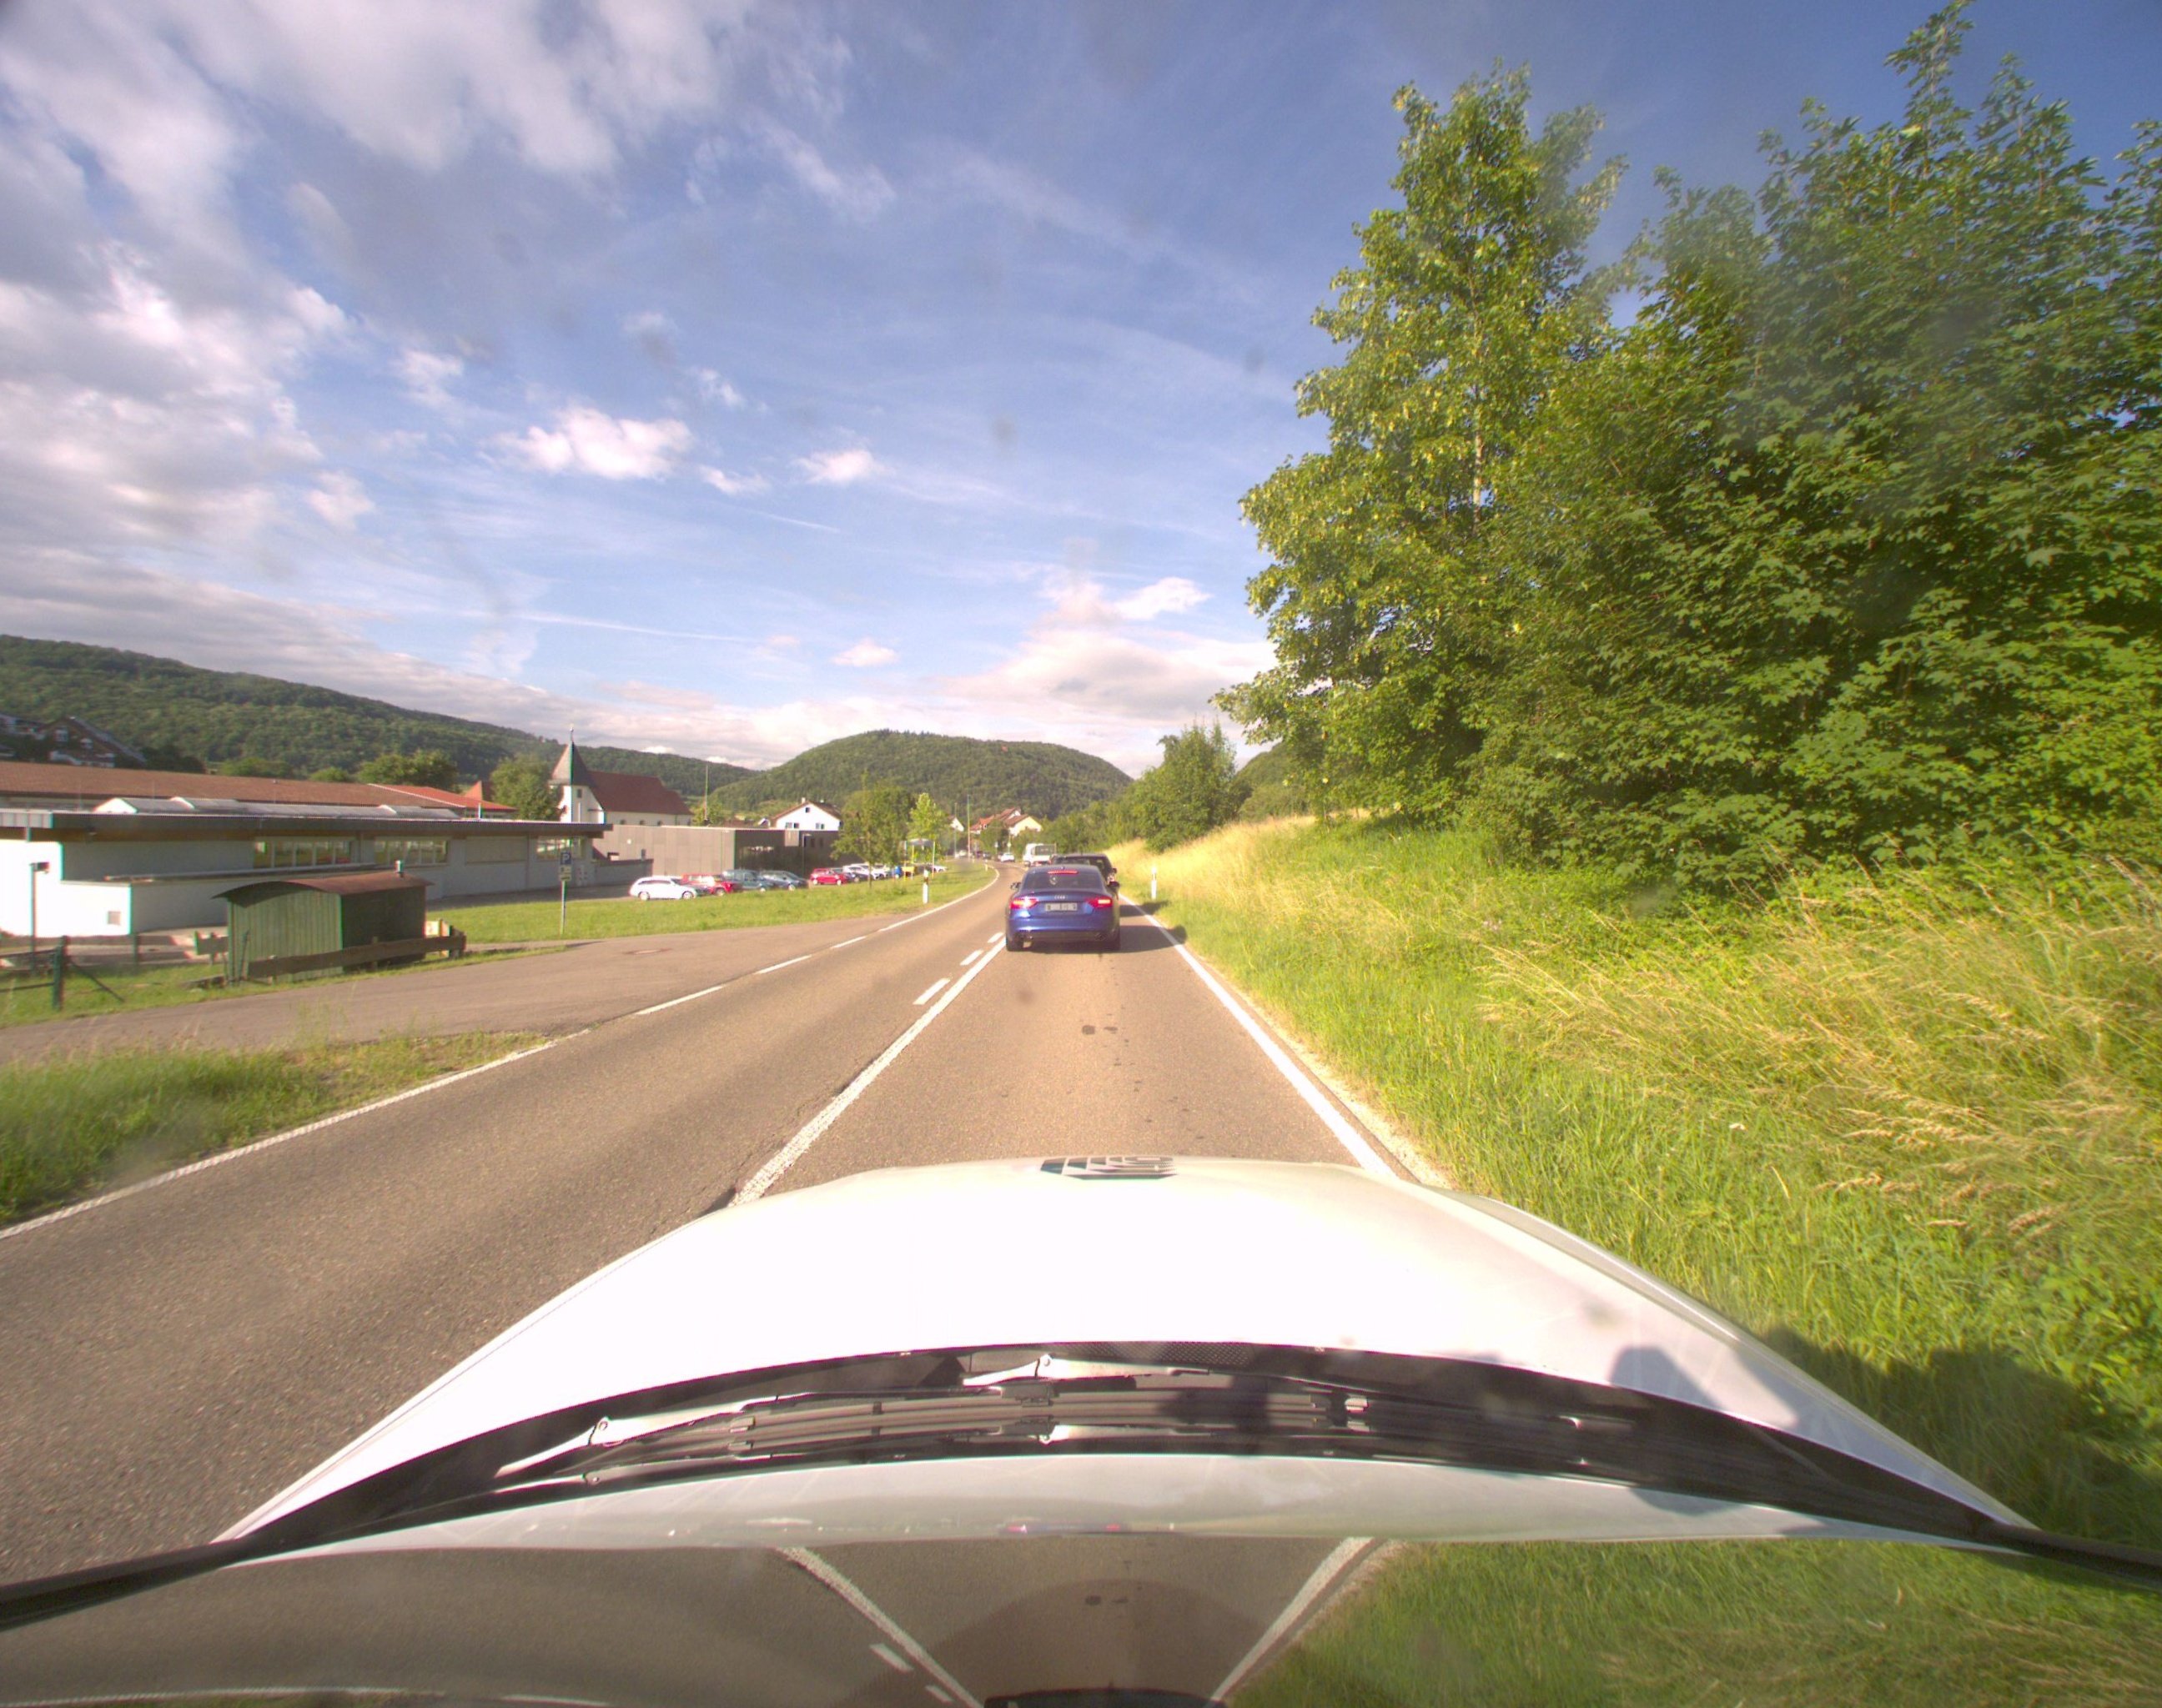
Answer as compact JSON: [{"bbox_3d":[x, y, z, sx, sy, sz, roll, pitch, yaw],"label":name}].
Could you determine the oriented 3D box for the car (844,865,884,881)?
[{"bbox_3d":[-22.266,1.952,83.605,3.647,1.494,1.599,-1,-2,6],"label":"car"}]

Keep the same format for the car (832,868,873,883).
[{"bbox_3d":[-22.540,2.145,80.374,3.606,1.405,1.599,-1,-3,6],"label":"car"}]

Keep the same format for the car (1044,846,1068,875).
[{"bbox_3d":[-1.844,0.470,59.497,1.564,2.013,3.995,-2,0,-3],"label":"car"}]

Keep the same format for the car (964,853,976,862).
[{"bbox_3d":[-23.389,0.742,171.817,1.682,1.924,3.975,-2,0,-19],"label":"car"}]

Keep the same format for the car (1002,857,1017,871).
[{"bbox_3d":[-10.789,1.483,122.608,1.660,1.924,3.984,-2,0,-11],"label":"car"}]

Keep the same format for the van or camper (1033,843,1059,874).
[{"bbox_3d":[-3.039,0.391,70.022,2.048,2.505,5.802,-2,0,-4],"label":"van or camper"}]

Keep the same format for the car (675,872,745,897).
[{"bbox_3d":[-24.977,2.057,54.941,3.901,1.579,1.758,-1,0,5],"label":"car"}]

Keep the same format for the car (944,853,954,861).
[{"bbox_3d":[-31.931,0.671,196.850,1.682,1.924,3.975,-2,0,-19],"label":"car"}]

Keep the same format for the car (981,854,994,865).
[{"bbox_3d":[-17.485,1.080,152.177,1.663,1.924,3.978,-2,0,-16],"label":"car"}]

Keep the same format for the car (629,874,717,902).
[{"bbox_3d":[-26.074,2.162,52.080,4.618,1.589,2.003,-1,0,5],"label":"car"}]

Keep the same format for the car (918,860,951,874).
[{"bbox_3d":[-19.794,1.742,109.975,4.015,1.660,1.658,-2,0,6],"label":"car"}]

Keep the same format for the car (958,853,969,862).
[{"bbox_3d":[-26.007,0.752,180.828,1.682,1.924,3.975,-2,0,-19],"label":"car"}]

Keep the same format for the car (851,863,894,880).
[{"bbox_3d":[-22.233,1.879,86.781,4.056,1.673,1.599,-1,1,6],"label":"car"}]

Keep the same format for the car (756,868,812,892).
[{"bbox_3d":[-23.761,2.068,65.206,3.800,1.722,1.734,-1,0,5],"label":"car"}]

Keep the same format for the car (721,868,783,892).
[{"bbox_3d":[-24.453,1.930,60.570,3.845,1.722,1.757,0,0,3],"label":"car"}]

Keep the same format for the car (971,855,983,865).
[{"bbox_3d":[-20.778,1.150,162.655,1.681,1.924,3.976,-2,0,-18],"label":"car"}]

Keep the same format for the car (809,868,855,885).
[{"bbox_3d":[-22.993,2.104,75.331,3.606,1.444,1.651,-2,0,6],"label":"car"}]

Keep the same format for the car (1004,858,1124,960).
[{"bbox_3d":[-0.220,0.826,13.856,1.736,1.450,3.517,-2,0,1],"label":"car"}]

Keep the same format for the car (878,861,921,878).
[{"bbox_3d":[-21.255,1.765,95.412,4.530,1.815,1.844,-2,0,6],"label":"car"}]

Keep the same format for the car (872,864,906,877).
[{"bbox_3d":[-21.878,1.880,92.889,3.360,1.373,1.659,-2,0,-2],"label":"car"}]

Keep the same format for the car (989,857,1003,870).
[{"bbox_3d":[-13.889,1.548,133.173,1.661,1.924,3.982,-2,0,-13],"label":"car"}]

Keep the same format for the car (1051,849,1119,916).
[{"bbox_3d":[0.075,0.709,21.578,1.641,1.625,3.515,0,0,-1],"label":"car"}]

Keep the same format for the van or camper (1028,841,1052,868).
[{"bbox_3d":[-4.453,0.042,87.790,2.277,2.714,5.757,-2,0,-5],"label":"van or camper"}]
